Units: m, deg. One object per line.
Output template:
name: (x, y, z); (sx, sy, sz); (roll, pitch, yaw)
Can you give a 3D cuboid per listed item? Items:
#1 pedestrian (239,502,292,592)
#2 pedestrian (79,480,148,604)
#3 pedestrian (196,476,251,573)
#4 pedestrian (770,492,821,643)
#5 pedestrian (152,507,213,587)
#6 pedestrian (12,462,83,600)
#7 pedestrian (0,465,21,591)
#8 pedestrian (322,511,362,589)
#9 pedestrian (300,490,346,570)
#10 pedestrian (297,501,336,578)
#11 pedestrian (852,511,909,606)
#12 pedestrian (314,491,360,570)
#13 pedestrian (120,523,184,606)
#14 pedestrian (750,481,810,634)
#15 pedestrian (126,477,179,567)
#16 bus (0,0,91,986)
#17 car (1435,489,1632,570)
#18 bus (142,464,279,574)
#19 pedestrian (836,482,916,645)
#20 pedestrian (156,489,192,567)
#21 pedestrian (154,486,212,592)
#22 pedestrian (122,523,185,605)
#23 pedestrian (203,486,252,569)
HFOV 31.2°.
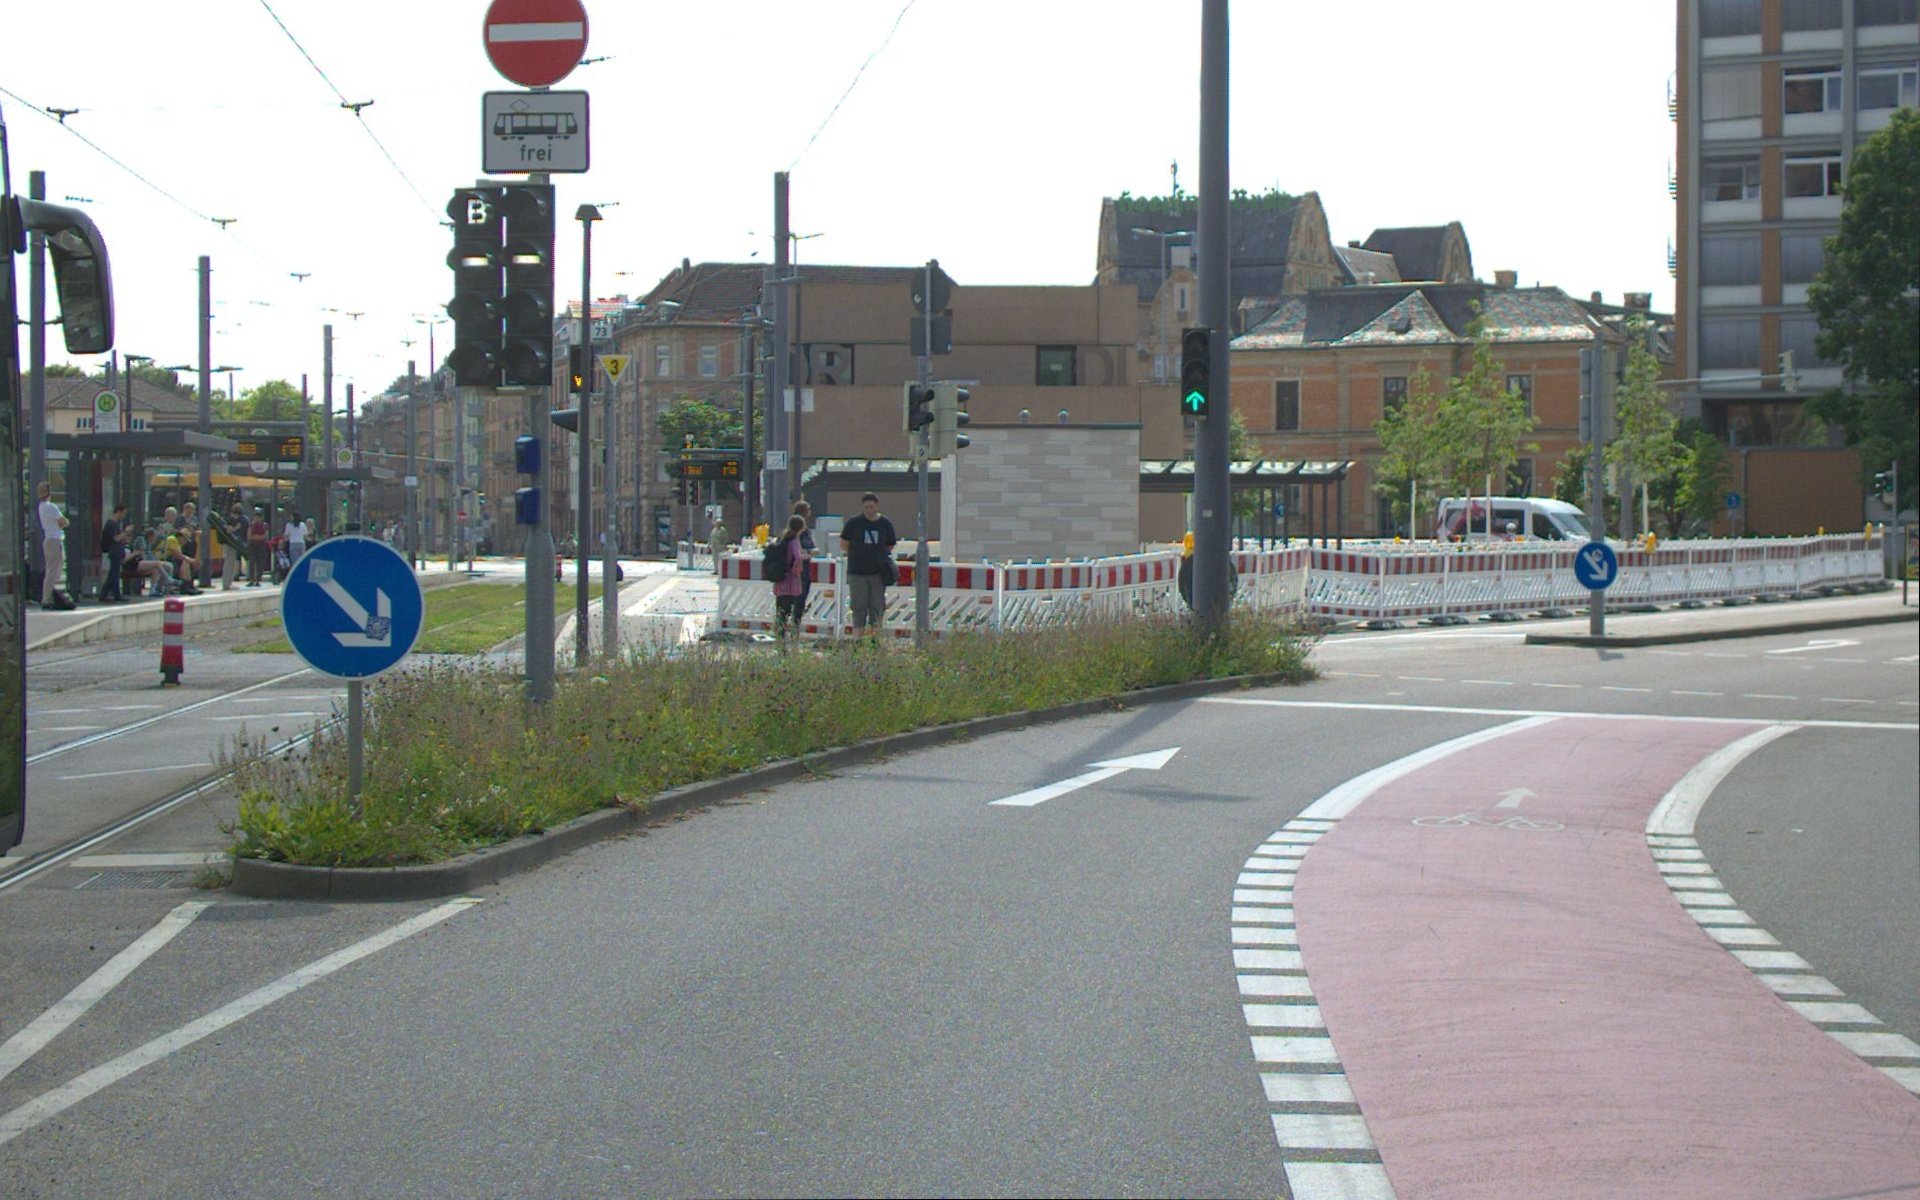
pedestrian: (-15.630, -1.184, 77.343); (0.940, 2.007, 0.731); (1, 1, -33)
pedestrian: (-13.990, -0.958, 56.845); (0.940, 2.007, 0.731); (1, 0, -2)
pedestrian: (-15.454, -1.589, 72.141); (0.940, 2.007, 0.731); (1, 1, -29)
pedestrian: (-1.898, -0.380, 39.708); (0.409, 1.730, 0.621); (0, 1, 16)
pedestrian: (-14.036, -0.956, 62.080); (0.940, 1.426, 0.731); (1, 0, -2)
pedestrian: (-13.453, -1.010, 50.712); (0.814, 2.007, 0.799); (1, 0, -2)
pedestrian: (-15.662, -1.158, 55.239); (0.940, 2.007, 0.731); (1, 0, -2)
pedestrian: (-16.126, -1.305, 89.698); (0.940, 2.007, 0.731); (1, 0, -15)
pedestrian: (-16.106, -1.767, 86.905); (0.940, 2.007, 0.731); (1, 1, -29)
pedestrian: (-16.998, -1.599, 90.782); (0.940, 2.007, 0.731); (1, 0, -15)
pedestrian: (-1.536, -0.796, 66.135); (0.933, 1.784, 1.179); (1, 1, -8)
pedestrian: (-15.931, -1.775, 87.864); (0.940, 2.007, 0.731); (1, 1, -29)
pedestrian: (-14.192, -0.625, 60.376); (0.940, 1.426, 0.731); (1, 0, -2)
pedestrian: (-2.015, -0.479, 38.566); (0.611, 1.701, 0.623); (0, 1, 3)
pedestrian: (-18.233, -1.752, 77.648); (0.940, 2.007, 0.731); (1, 1, -33)
bus: (-4.132, -0.380, 6.239); (2.917, 3.317, 12.208); (1, 1, -5)
car: (16.811, -2.063, 101.005); (2.295, 2.311, 5.587); (-1, 1, -40)
bus: (-21.438, -2.318, 98.792); (2.422, 2.972, 10.546); (0, 1, -5)
pedestrian: (-0.980, -0.429, 40.149); (0.791, 1.878, 0.613); (0, 1, -19)
pedestrian: (-20.424, -1.878, 89.334); (0.728, 2.007, 0.944); (1, 1, -23)
pedestrian: (-14.903, -1.163, 65.961); (0.940, 2.007, 0.731); (1, 0, -2)
pedestrian: (-14.352, -0.638, 61.226); (0.940, 1.426, 0.731); (1, 0, -2)
pedestrian: (-17.814, -1.763, 83.605); (0.940, 2.007, 0.731); (1, 1, -29)
